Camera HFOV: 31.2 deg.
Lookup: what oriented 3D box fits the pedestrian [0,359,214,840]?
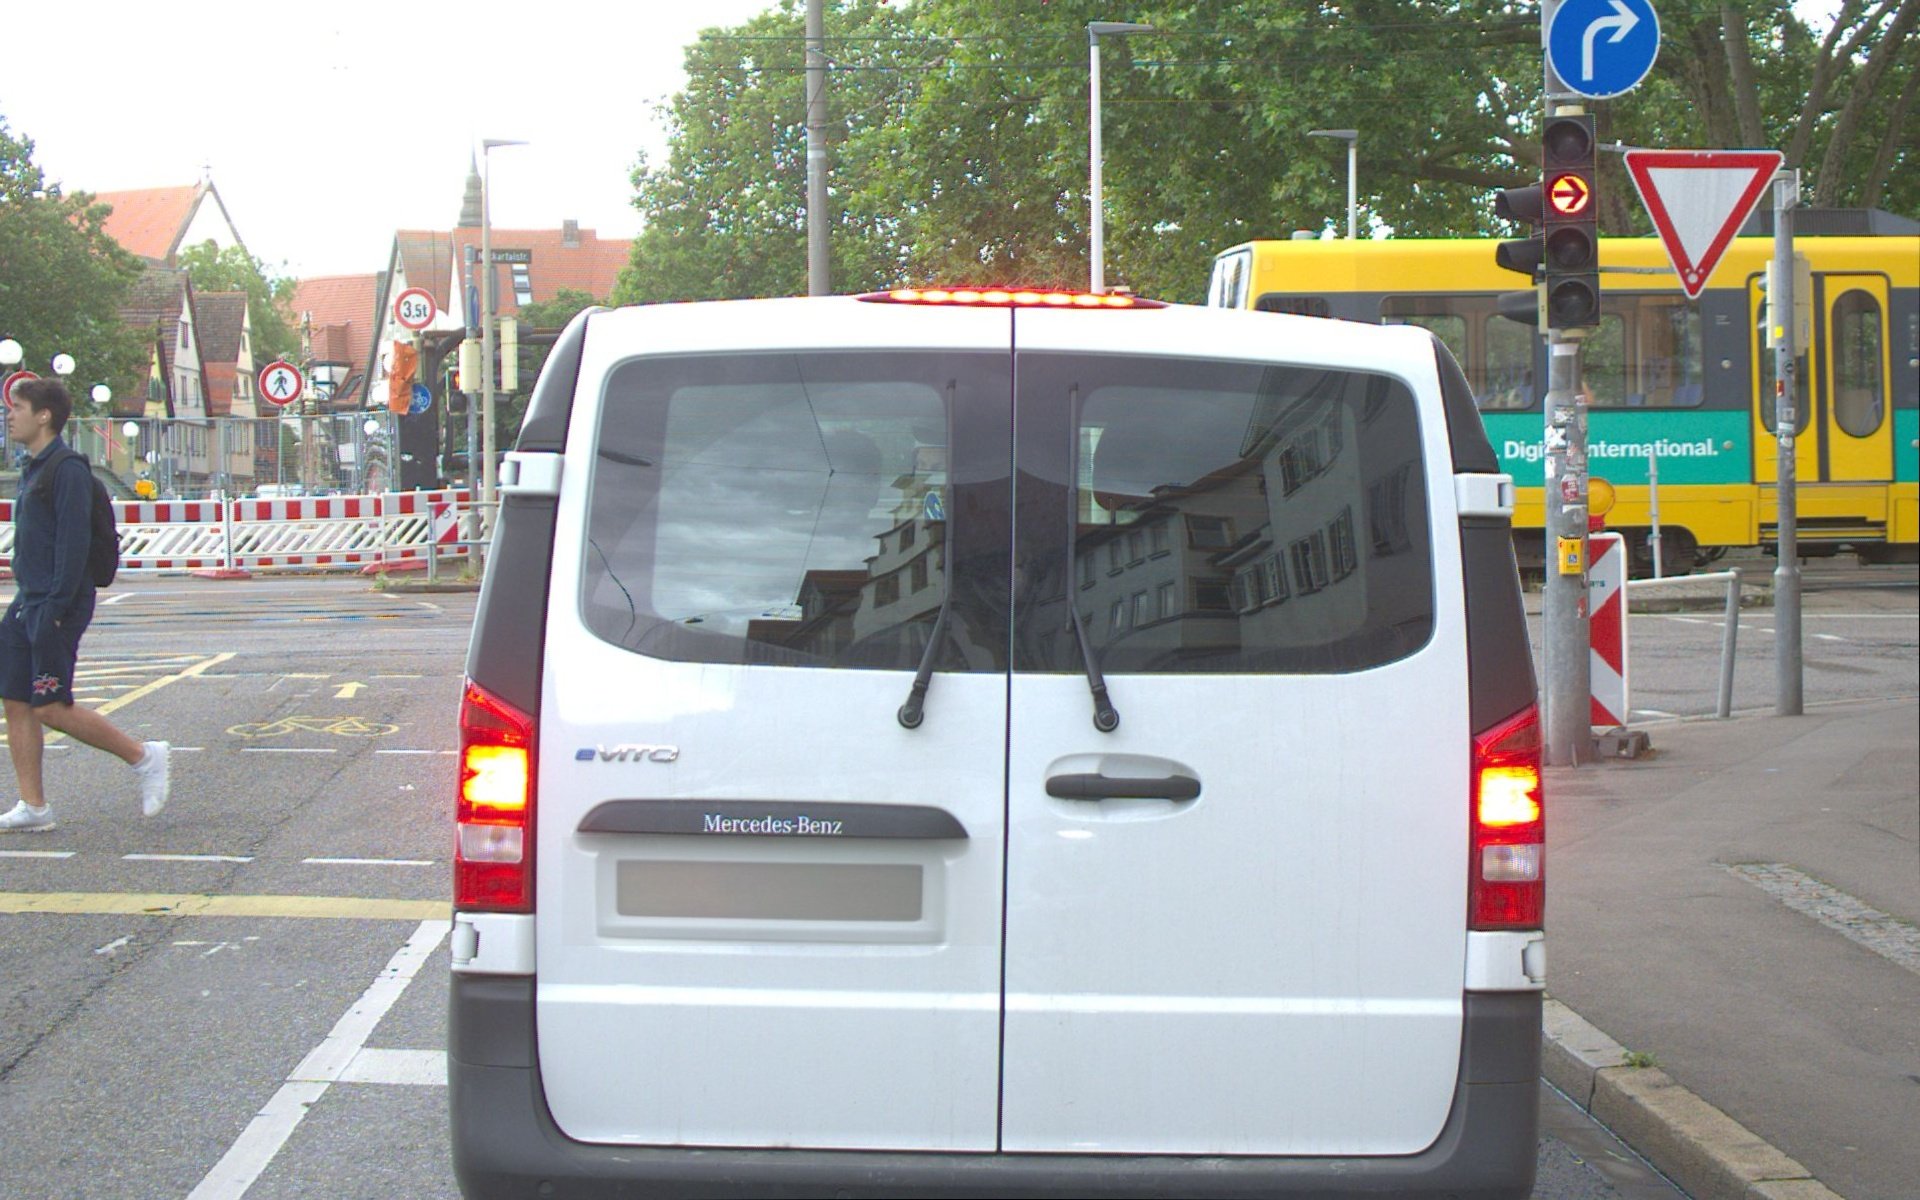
[{"bbox_3d":[-3.598,-0.005,14.036,1.003,1.908,0.625,1,1,-18],"label":"pedestrian"}]

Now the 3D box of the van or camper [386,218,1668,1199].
[{"bbox_3d":[-0.008,0.331,7.468,1.937,1.918,4.442,1,2,-3],"label":"van or camper"}]

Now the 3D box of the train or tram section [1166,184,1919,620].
[{"bbox_3d":[11.905,-2.181,34.985,19.221,3.988,3.310,-2,4,-6],"label":"train or tram section"}]

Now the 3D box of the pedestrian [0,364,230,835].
[{"bbox_3d":[-3.662,-0.030,14.008,1.149,1.849,0.679,-3,4,-30],"label":"pedestrian"}]
